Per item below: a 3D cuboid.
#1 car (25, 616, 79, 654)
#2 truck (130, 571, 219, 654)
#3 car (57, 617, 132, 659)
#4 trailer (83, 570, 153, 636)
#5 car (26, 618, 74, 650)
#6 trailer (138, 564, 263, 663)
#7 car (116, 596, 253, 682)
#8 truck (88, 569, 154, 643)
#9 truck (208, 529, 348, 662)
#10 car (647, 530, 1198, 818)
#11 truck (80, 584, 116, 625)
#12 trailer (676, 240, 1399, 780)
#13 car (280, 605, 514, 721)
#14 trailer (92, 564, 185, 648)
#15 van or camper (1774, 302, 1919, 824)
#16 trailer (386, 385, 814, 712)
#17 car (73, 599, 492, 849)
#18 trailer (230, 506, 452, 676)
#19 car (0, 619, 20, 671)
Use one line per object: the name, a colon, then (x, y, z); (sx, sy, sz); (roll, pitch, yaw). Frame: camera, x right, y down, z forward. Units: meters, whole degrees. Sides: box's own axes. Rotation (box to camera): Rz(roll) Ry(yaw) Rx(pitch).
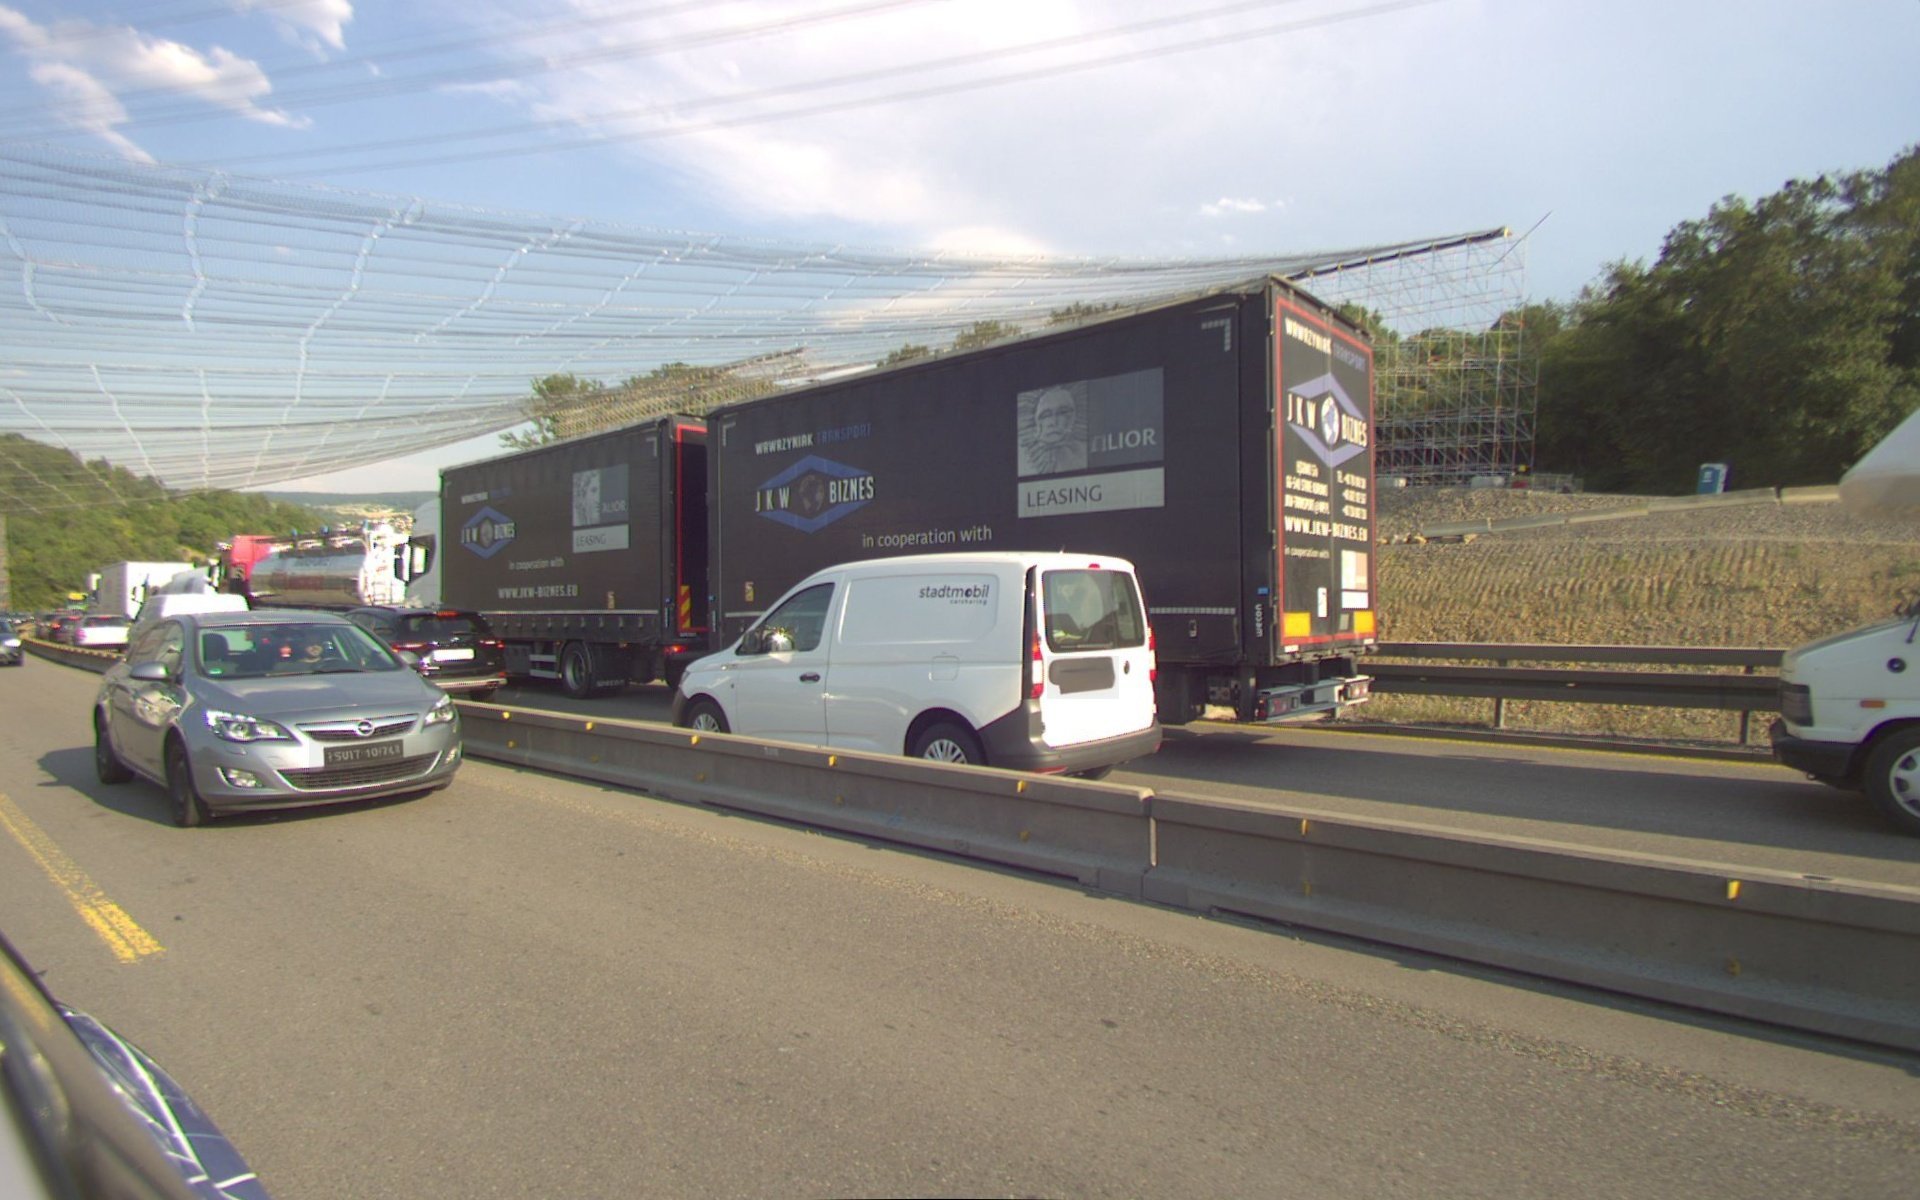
car: (-39.771, 1.502, 44.308); (3.588, 1.540, 1.490); (-1, 0, 44)
truck: (-34.102, 0.522, 43.869); (5.620, 3.395, 2.386); (-1, 0, 45)
car: (-32.042, 1.355, 37.415); (4.657, 1.437, 1.610); (-1, 0, 43)
trailer: (-56.697, 0.244, 67.975); (2.639, 4.046, 13.344); (0, 0, -44)
car: (-48.508, 1.758, 53.919); (1.730, 1.599, 3.945); (0, 0, -44)
trailer: (-30.037, 0.490, 39.738); (2.280, 3.387, 12.059); (0, 0, -45)
car: (-19.280, 0.893, 25.076); (4.834, 1.940, 1.798); (-1, 0, 41)
truck: (-48.666, 0.345, 58.641); (2.445, 4.076, 5.621); (0, 0, -45)
truck: (-21.479, -0.122, 31.760); (5.617, 3.813, 2.406); (-1, 0, 43)
car: (-0.517, 0.452, 8.139); (4.451, 1.708, 1.738); (-1, 0, 41)
truck: (-95.405, 0.508, 112.139); (2.687, 4.259, 14.193); (0, 0, -39)
trailer: (0.215, -0.676, 11.639); (8.539, 4.220, 2.418); (-1, 0, 41)
car: (-8.576, 0.832, 15.228); (4.601, 1.490, 1.662); (-1, 0, 42)
trailer: (-43.758, 0.341, 53.651); (2.400, 3.993, 14.106); (0, 0, -45)
van or camper: (8.545, -0.236, 4.518); (7.612, 2.913, 2.384); (-1, 0, 40)
trailer: (-6.934, -0.656, 17.943); (10.508, 4.361, 2.449); (-1, 0, 42)
car: (-5.604, 0.757, 8.129); (4.351, 1.484, 1.737); (-1, 0, 41)
trailer: (-17.288, -0.157, 27.662); (12.056, 3.819, 2.281); (-1, 0, 44)
car: (-27.990, 1.264, 28.807); (1.740, 1.394, 3.825); (0, 0, -44)
